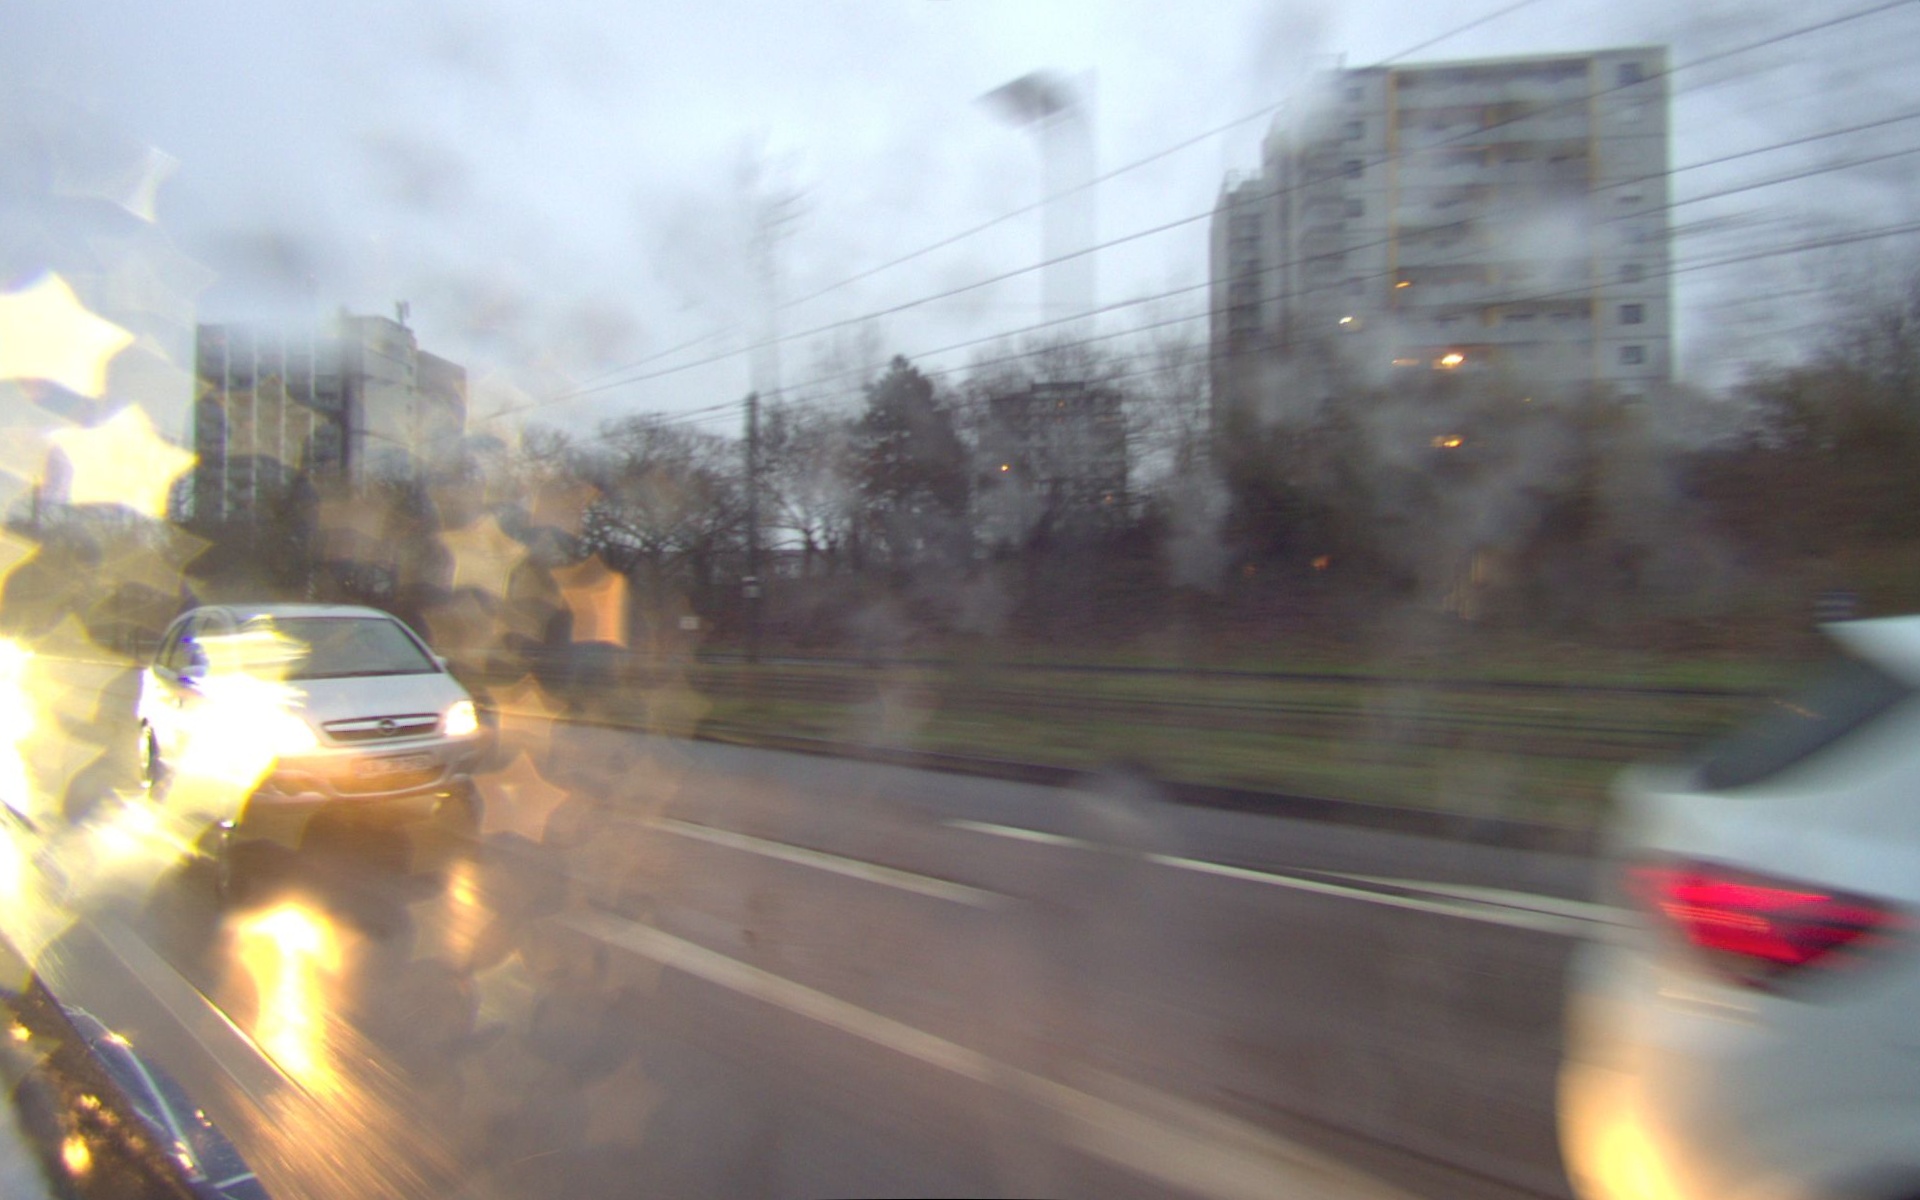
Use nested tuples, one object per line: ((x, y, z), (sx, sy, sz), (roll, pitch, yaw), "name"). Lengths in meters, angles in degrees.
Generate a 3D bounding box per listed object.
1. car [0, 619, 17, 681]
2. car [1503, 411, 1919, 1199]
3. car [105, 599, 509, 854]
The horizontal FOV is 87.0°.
((-27.042, 1.341, 27.236), (4.121, 1.612, 1.928), (-2, -2, 40), "car")
((3.027, 0.554, 0.951), (4.146, 1.660, 1.695), (-2, -2, 42), "car")
((-5.449, 0.814, 8.214), (4.188, 1.551, 1.672), (-2, -1, 41), "car")
